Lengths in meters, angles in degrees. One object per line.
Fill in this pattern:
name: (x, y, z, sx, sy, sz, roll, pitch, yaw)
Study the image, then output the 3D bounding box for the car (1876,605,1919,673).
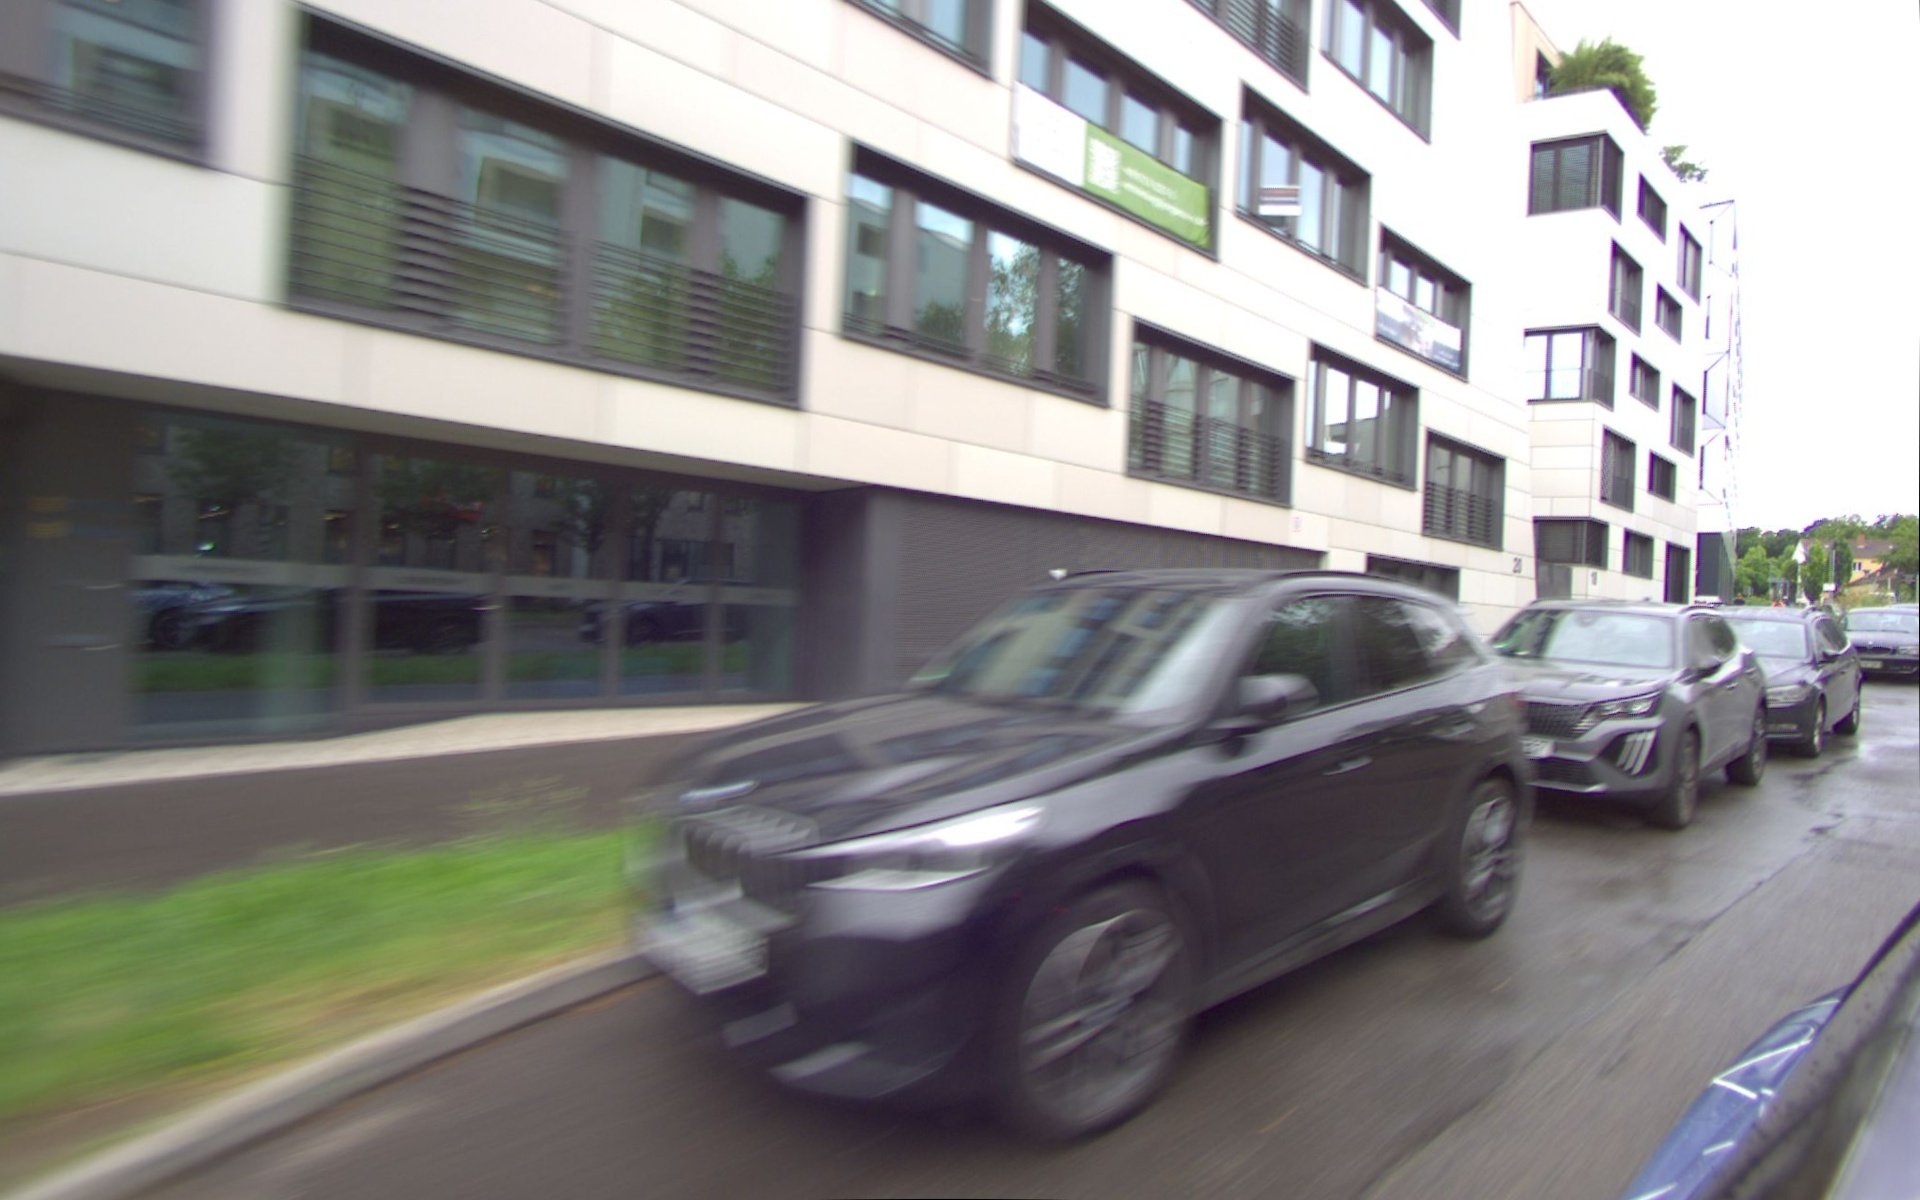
car: (22.817, 0.907, 23.687, 3.595, 1.497, 1.549, 1, 0, -40)

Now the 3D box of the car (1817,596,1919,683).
car: (18.838, 0.719, 20.344, 4.417, 1.503, 1.811, -1, 1, -41)

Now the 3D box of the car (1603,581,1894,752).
car: (9.286, 0.583, 11.756, 4.762, 1.583, 1.811, -1, 1, -41)

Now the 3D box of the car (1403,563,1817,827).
car: (5.501, 0.541, 8.329, 4.298, 1.625, 1.752, -1, 1, -41)

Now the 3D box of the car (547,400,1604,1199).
car: (0.931, 0.450, 4.293, 4.630, 1.700, 1.811, 1, 0, -41)

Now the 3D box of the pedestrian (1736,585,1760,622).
pedestrian: (39.188, 0.157, 50.323, 0.822, 1.818, 1.189, 2, 2, 43)

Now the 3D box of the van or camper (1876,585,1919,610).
van or camper: (108.784, -0.313, 117.363, 2.327, 2.800, 6.079, 1, 1, 29)
